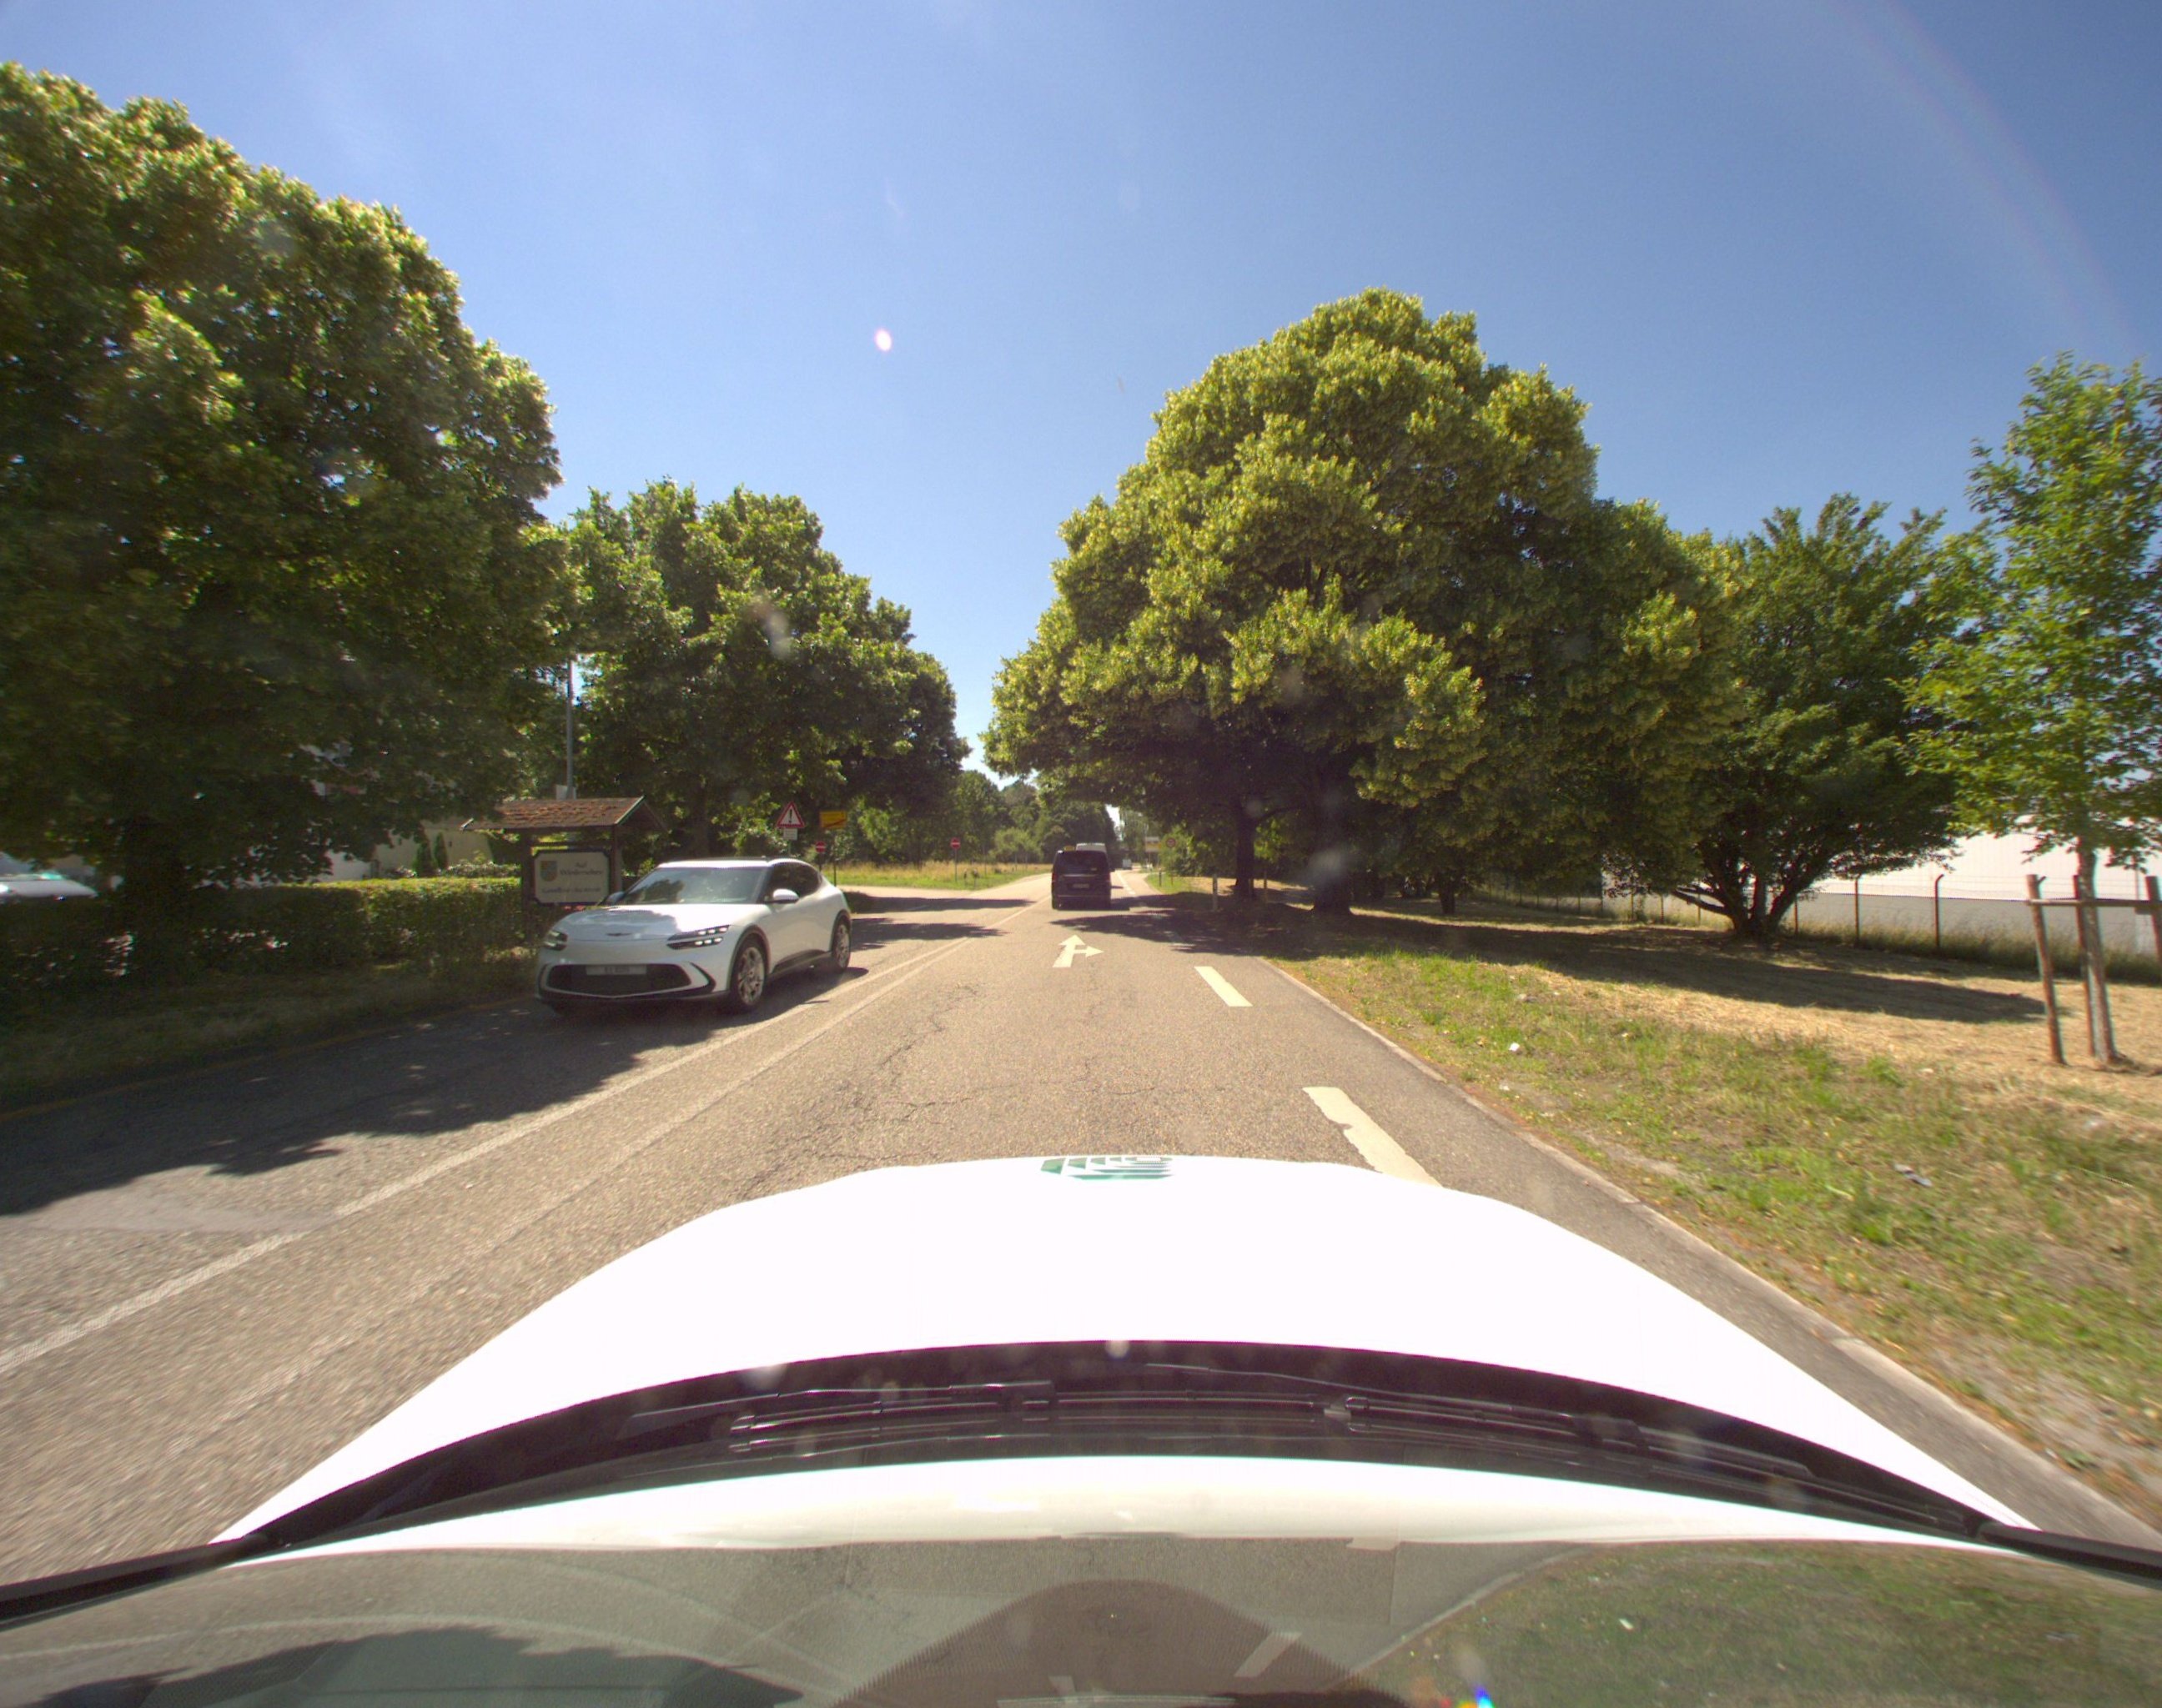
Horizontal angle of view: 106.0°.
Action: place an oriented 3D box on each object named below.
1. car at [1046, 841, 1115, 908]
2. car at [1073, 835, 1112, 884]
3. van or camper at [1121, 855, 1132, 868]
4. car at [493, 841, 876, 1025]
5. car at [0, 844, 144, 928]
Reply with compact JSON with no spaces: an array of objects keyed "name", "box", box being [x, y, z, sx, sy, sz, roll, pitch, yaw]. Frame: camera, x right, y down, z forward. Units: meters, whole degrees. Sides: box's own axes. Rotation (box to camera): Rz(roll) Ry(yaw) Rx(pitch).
[{"name":"car","box":[0.087,0.661,27.026,1.985,1.953,5.008,1,-1,3]},{"name":"car","box":[0.730,0.360,48.381,2.070,2.703,4.669,1,-1,3]},{"name":"van or camper","box":[11.418,1.896,203.441,2.622,2.929,5.207,1,-1,1]},{"name":"car","box":[-4.108,0.735,9.509,2.086,1.588,4.477,1,-1,2]},{"name":"car","box":[-22.971,0.559,16.613,4.970,1.571,2.239,2,-1,0]}]
